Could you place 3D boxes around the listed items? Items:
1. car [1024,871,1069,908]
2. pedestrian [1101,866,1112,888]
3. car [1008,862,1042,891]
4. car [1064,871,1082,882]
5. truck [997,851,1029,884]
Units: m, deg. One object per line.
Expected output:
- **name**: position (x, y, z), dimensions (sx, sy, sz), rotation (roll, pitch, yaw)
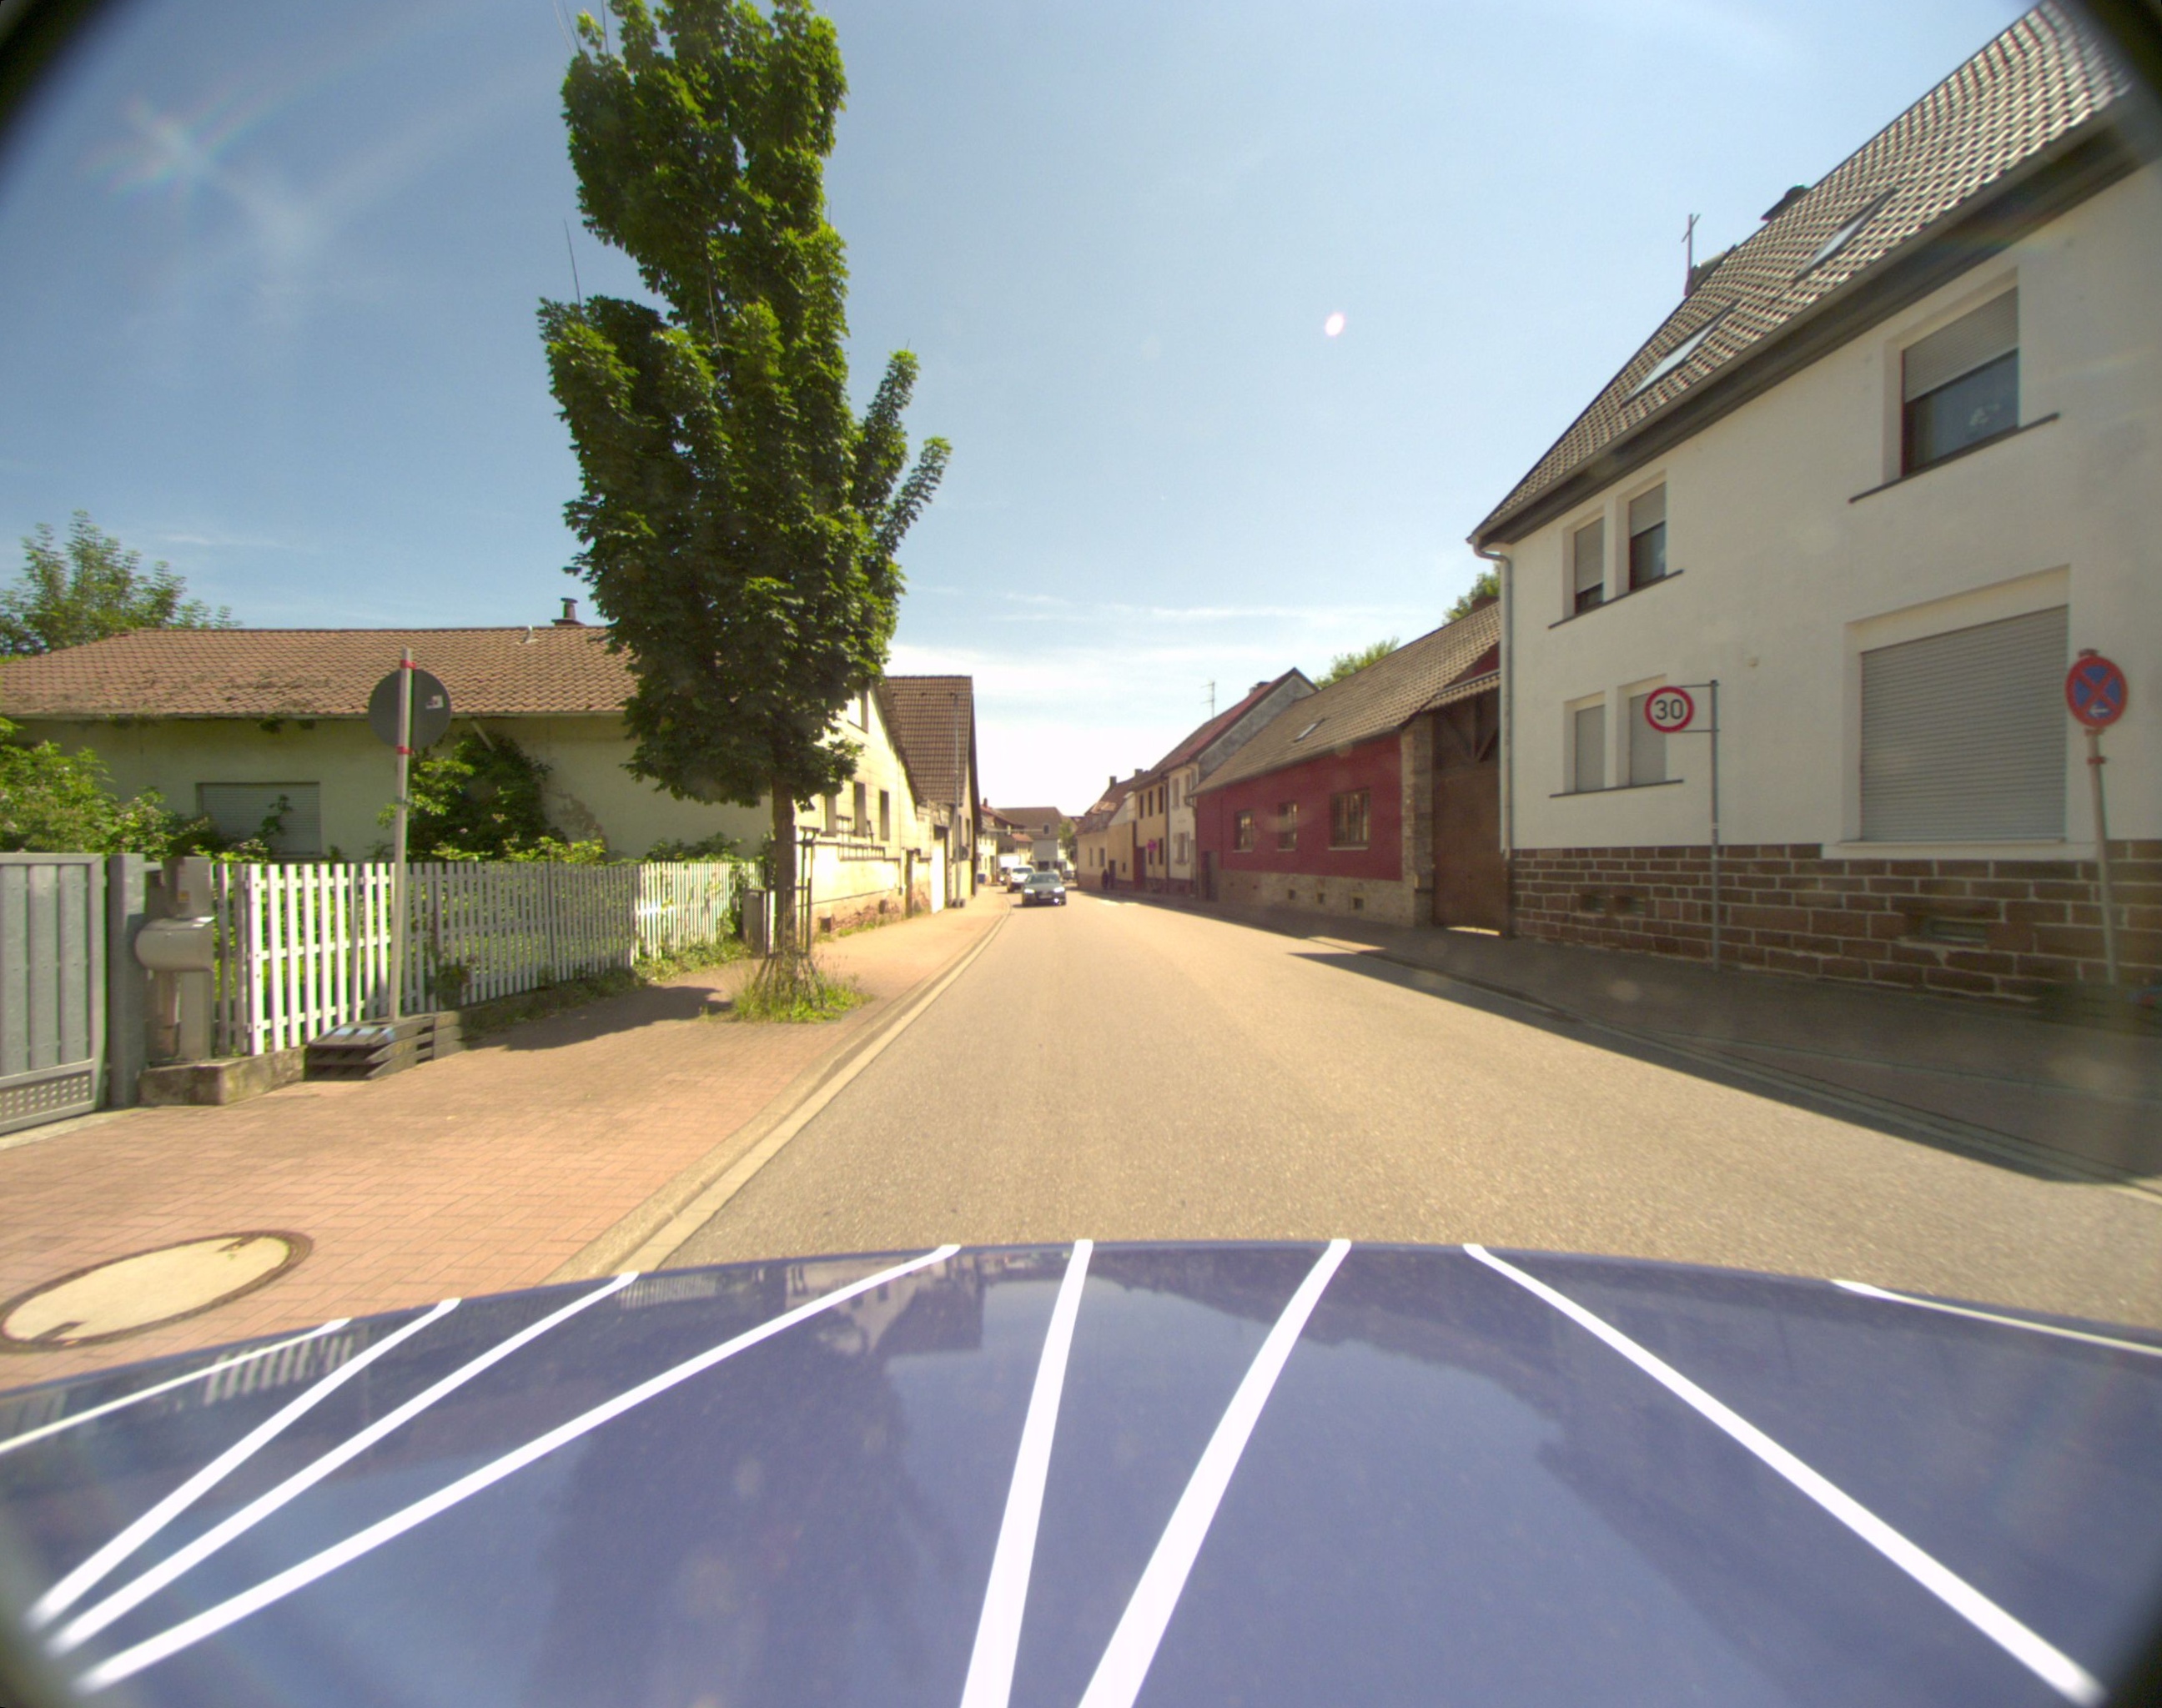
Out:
- **car**: position (-1.505, 1.453, 32.332), dimensions (1.787, 1.364, 3.605), rotation (-1, 0, -4)
- **pedestrian**: position (1.802, 1.618, 54.477), dimensions (0.664, 1.555, 0.754), rotation (-2, 1, -7)
- **car**: position (-4.117, 1.586, 55.131), dimensions (2.080, 1.949, 5.514), rotation (-1, 0, -8)
- **car**: position (-1.099, 3.208, 108.442), dimensions (1.832, 1.612, 4.264), rotation (0, -1, 10)
- **truck**: position (-7.577, 1.395, 85.531), dimensions (2.867, 3.492, 8.318), rotation (0, 0, -1)
